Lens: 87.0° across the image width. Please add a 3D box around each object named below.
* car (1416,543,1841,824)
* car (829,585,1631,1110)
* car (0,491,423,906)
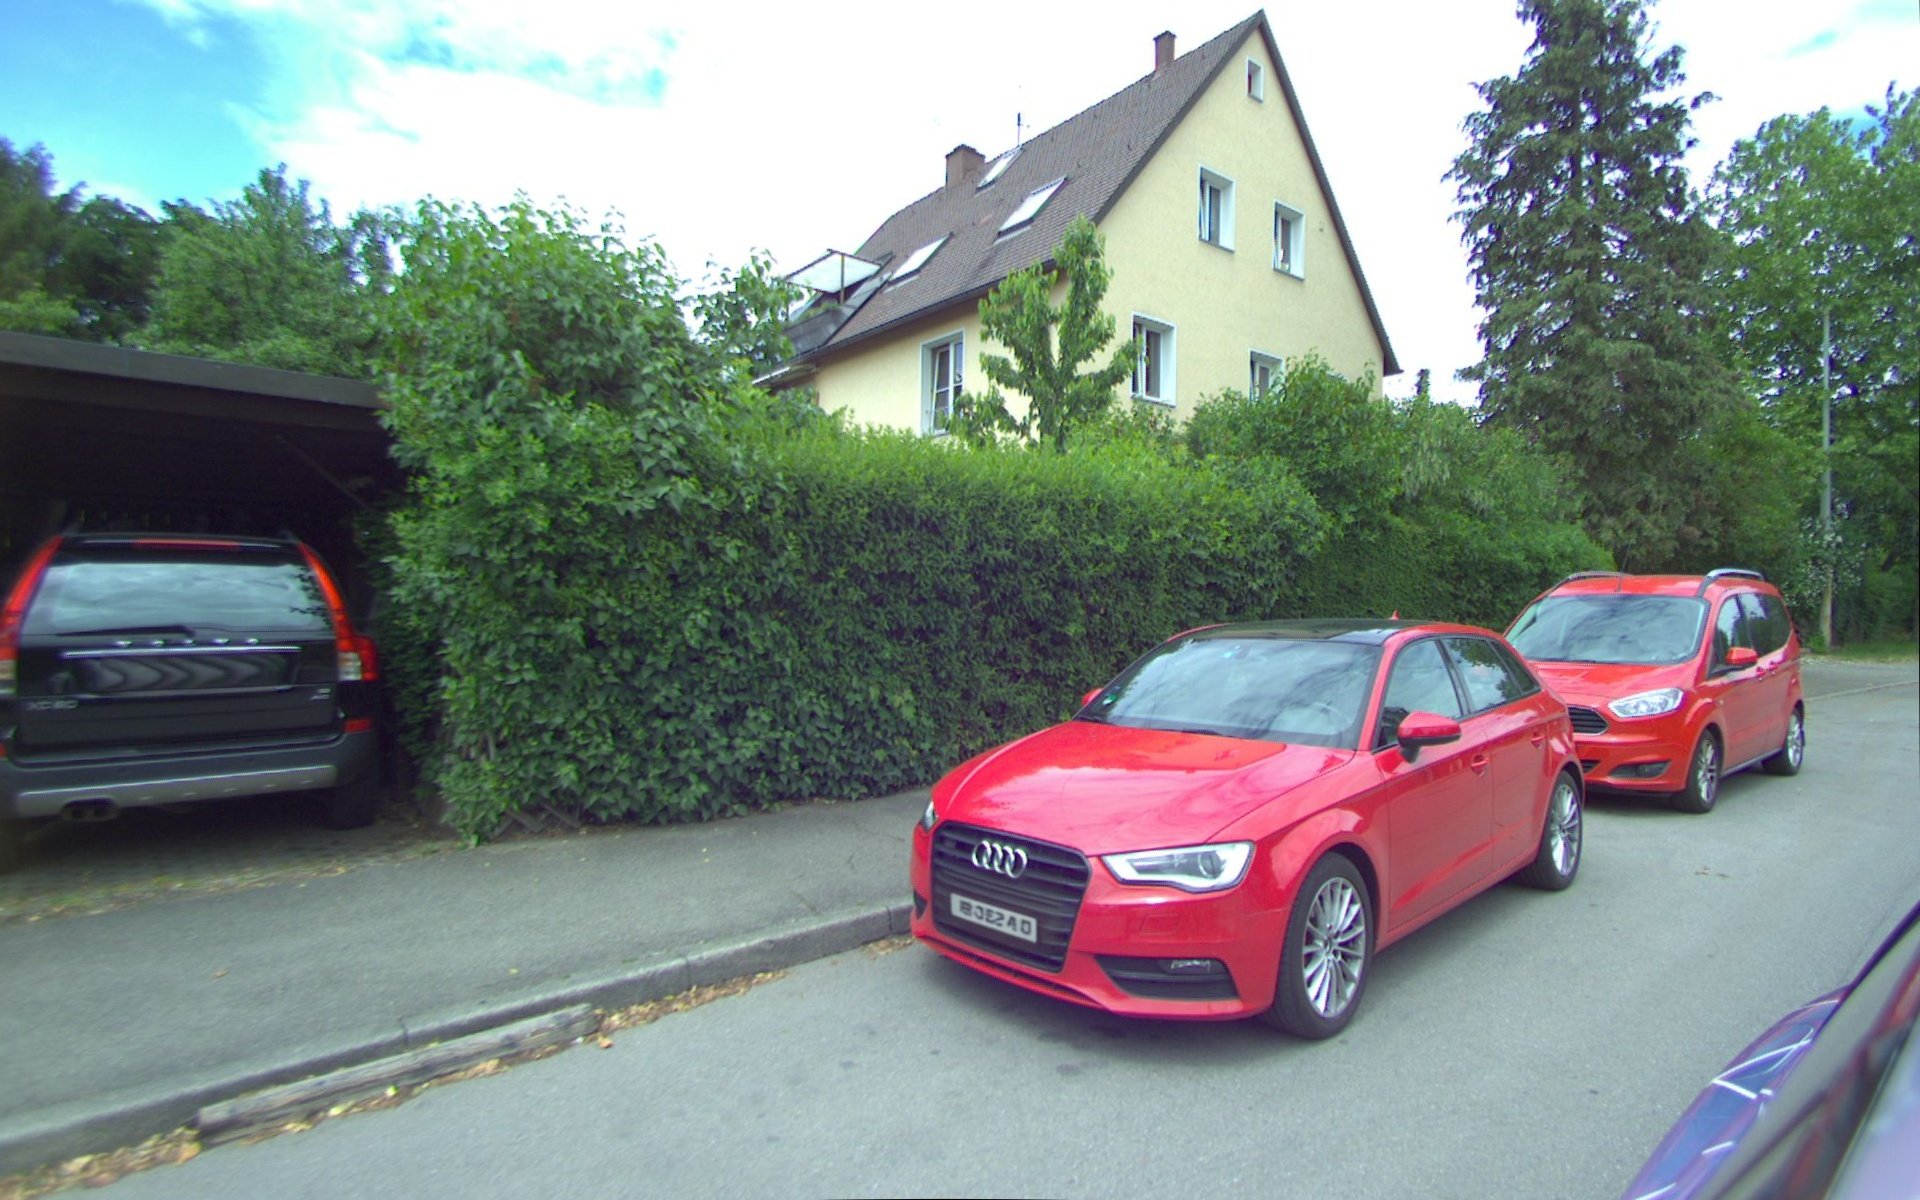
[{"bbox_3d":[5.699,0.549,8.446,4.086,1.788,1.770,0,-1,-39],"label":"car"},{"bbox_3d":[1.629,0.702,4.908,4.320,1.448,1.701,0,-1,-43],"label":"car"},{"bbox_3d":[-5.043,0.431,6.499,1.897,1.774,4.485,0,-1,-40],"label":"car"}]
